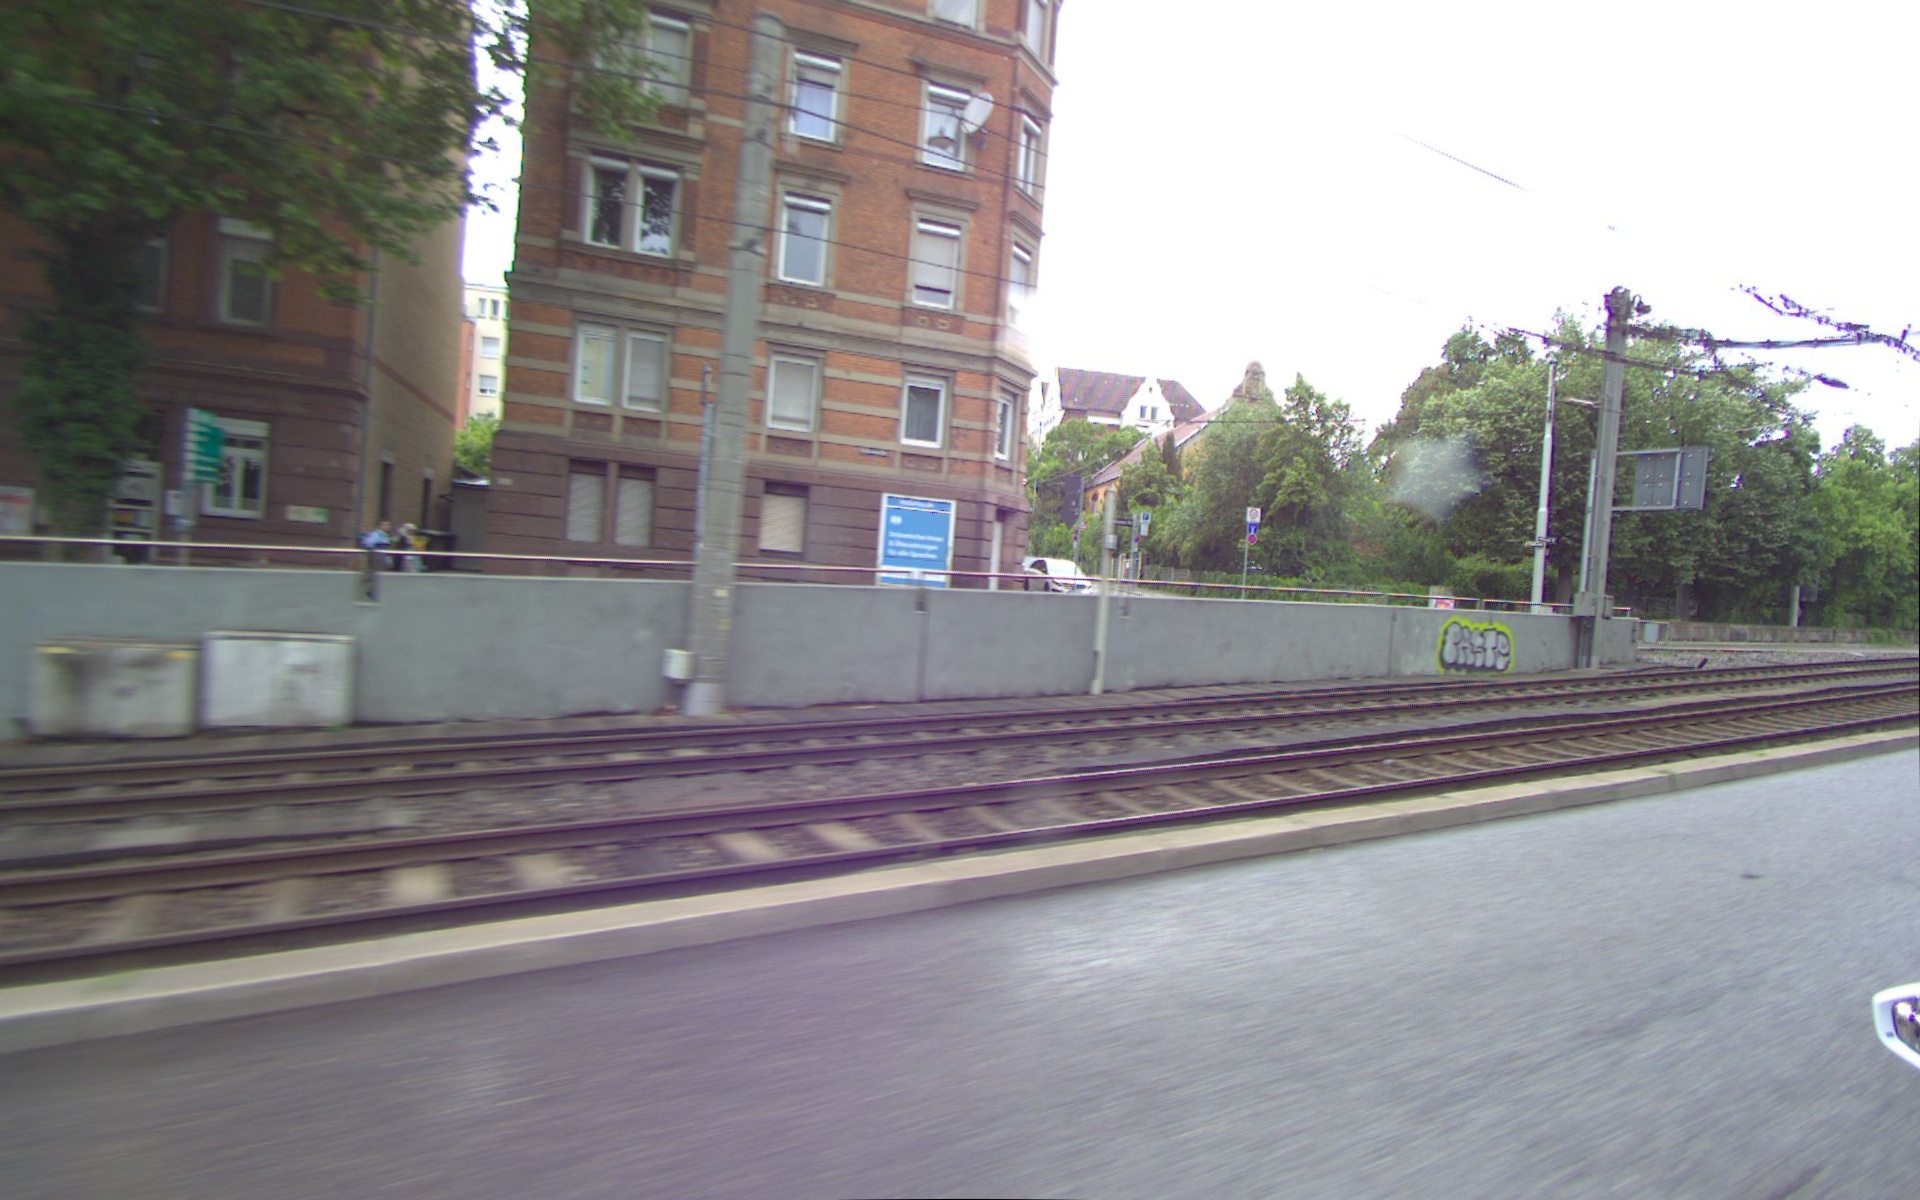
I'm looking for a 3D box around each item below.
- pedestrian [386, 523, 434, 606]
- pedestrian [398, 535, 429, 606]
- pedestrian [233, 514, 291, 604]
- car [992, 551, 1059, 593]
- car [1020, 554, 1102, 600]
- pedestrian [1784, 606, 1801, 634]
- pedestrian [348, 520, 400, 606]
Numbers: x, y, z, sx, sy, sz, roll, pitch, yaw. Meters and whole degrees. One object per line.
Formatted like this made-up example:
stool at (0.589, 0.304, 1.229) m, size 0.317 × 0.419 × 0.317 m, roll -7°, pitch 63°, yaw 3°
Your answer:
pedestrian at (-11.208, -0.707, 20.492) m, size 0.710 × 1.646 × 0.593 m, roll 1°, pitch 0°, yaw -13°
pedestrian at (-10.634, -0.566, 19.553) m, size 0.498 × 1.352 × 0.333 m, roll 1°, pitch 0°, yaw -27°
pedestrian at (-13.073, -0.758, 18.827) m, size 0.710 × 1.646 × 0.593 m, roll 1°, pitch 0°, yaw -13°
car at (2.910, -1.307, 45.468) m, size 1.873 × 1.522 × 3.945 m, roll 6°, pitch 3°, yaw -13°
car at (3.974, -0.974, 40.389) m, size 1.873 × 1.522 × 4.347 m, roll 6°, pitch 2°, yaw -13°
pedestrian at (52.430, 1.258, 63.238) m, size 0.643 × 1.683 × 0.644 m, roll 1°, pitch 0°, yaw -32°
pedestrian at (-11.494, -0.719, 19.725) m, size 0.710 × 1.646 × 0.593 m, roll 1°, pitch 0°, yaw -13°
